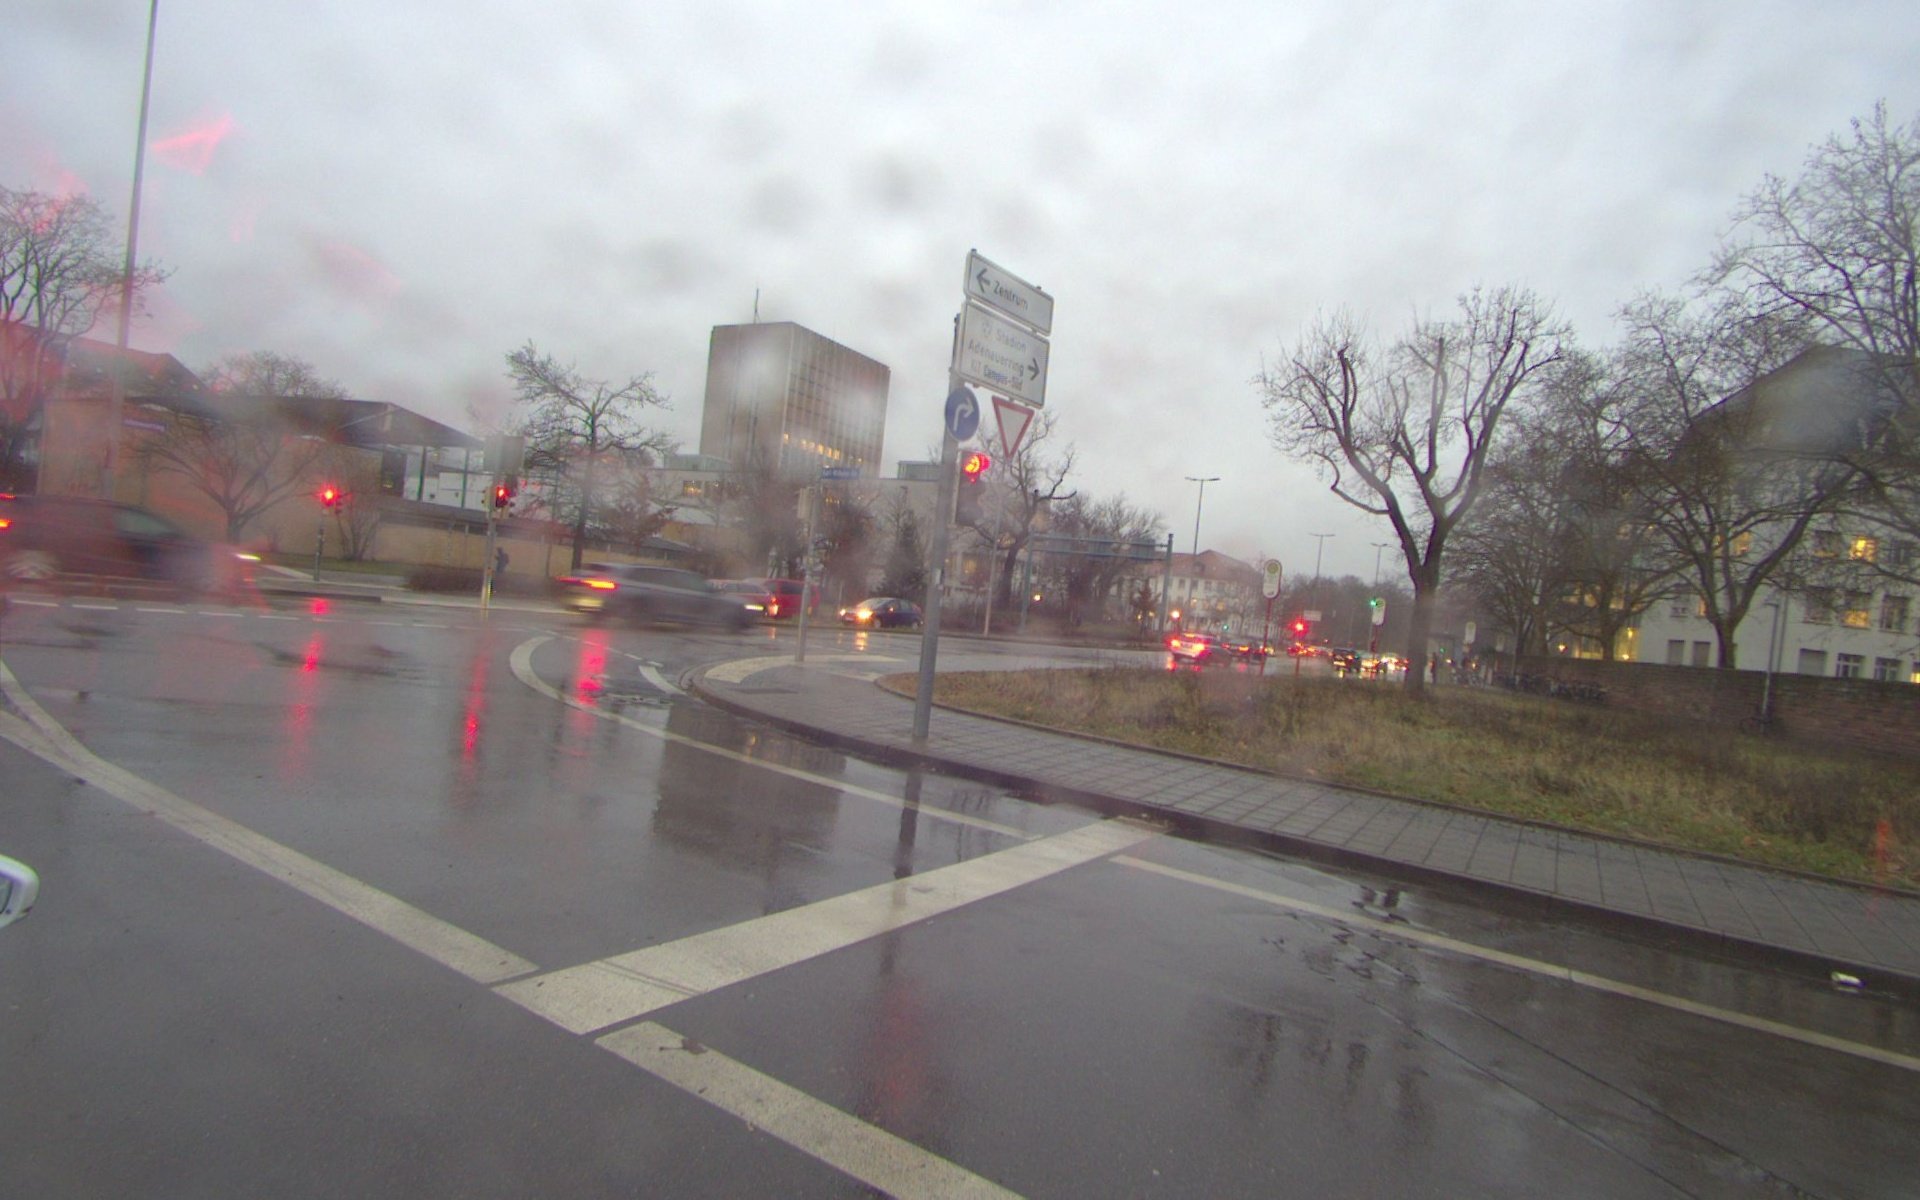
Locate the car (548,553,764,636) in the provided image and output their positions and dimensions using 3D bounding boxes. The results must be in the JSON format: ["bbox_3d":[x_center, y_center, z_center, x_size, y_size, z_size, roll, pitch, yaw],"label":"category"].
[{"bbox_3d":[-7.071,-0.075,23.782,1.786,1.496,4.570,6,0,40],"label":"car"}]

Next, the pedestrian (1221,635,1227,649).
[{"bbox_3d":[32.964,5.260,125.660,0.404,1.713,0.561,7,2,28],"label":"pedestrian"}]

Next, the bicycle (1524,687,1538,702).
[{"bbox_3d":[32.838,5.408,57.859,0.387,0.795,1.532,7,-2,19],"label":"bicycle"}]

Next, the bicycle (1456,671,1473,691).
[{"bbox_3d":[31.637,5.083,63.050,0.599,1.181,1.682,7,-2,19],"label":"bicycle"}]

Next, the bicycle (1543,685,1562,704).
[{"bbox_3d":[31.839,5.078,54.080,0.387,0.927,1.532,7,-2,15],"label":"bicycle"}]

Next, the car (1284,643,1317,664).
[{"bbox_3d":[30.134,4.717,88.969,1.811,1.602,4.127,6,0,32],"label":"car"}]

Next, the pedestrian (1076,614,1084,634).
[{"bbox_3d":[10.889,2.186,91.210,0.411,1.725,0.430,8,3,44],"label":"pedestrian"}]

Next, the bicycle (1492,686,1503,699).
[{"bbox_3d":[36.387,6.251,68.100,0.387,0.795,1.532,7,-2,20],"label":"bicycle"}]

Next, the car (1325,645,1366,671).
[{"bbox_3d":[29.707,4.480,77.455,1.812,1.710,4.311,6,-1,34],"label":"car"}]

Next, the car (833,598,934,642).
[{"bbox_3d":[-3.255,0.889,43.523,1.784,1.496,4.411,6,0,37],"label":"car"}]

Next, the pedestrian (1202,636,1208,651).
[{"bbox_3d":[29.791,5.303,122.455,0.404,1.713,0.427,7,2,28],"label":"pedestrian"}]

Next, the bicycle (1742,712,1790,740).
[{"bbox_3d":[28.200,4.402,35.218,0.387,0.834,1.386,7,-2,-4],"label":"bicycle"}]

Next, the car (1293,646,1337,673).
[{"bbox_3d":[25.280,4.240,71.513,1.812,1.602,4.124,6,0,35],"label":"car"}]

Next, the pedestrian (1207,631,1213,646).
[{"bbox_3d":[29.269,4.464,117.806,0.404,1.713,0.427,7,2,28],"label":"pedestrian"}]

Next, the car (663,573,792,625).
[{"bbox_3d":[-8.393,-0.001,36.638,1.784,1.496,4.411,6,0,37],"label":"car"}]

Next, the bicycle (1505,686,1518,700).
[{"bbox_3d":[34.847,5.870,63.619,0.387,0.795,1.532,7,-2,20],"label":"bicycle"}]

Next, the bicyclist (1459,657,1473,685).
[{"bbox_3d":[31.722,4.437,63.065,0.599,1.660,0.453,7,-1,19],"label":"bicyclist"}]

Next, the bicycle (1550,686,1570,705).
[{"bbox_3d":[31.354,4.983,52.549,0.387,0.868,1.532,7,-2,15],"label":"bicycle"}]

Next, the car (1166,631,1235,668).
[{"bbox_3d":[12.441,2.576,51.783,1.907,1.571,4.687,6,0,33],"label":"car"}]

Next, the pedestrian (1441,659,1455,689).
[{"bbox_3d":[34.461,5.234,71.025,0.557,2.040,0.595,8,2,33],"label":"pedestrian"}]

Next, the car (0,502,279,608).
[{"bbox_3d":[-15.228,-0.789,18.616,1.785,1.496,3.949,6,0,40],"label":"car"}]

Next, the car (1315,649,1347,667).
[{"bbox_3d":[31.673,4.976,85.837,1.673,1.318,3.757,6,0,32],"label":"car"}]

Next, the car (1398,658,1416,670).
[{"bbox_3d":[58.893,8.367,132.608,1.620,1.346,3.671,7,1,31],"label":"car"}]

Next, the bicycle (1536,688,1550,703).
[{"bbox_3d":[32.410,5.294,55.946,0.387,0.795,1.607,7,-2,22],"label":"bicycle"}]

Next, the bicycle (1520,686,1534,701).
[{"bbox_3d":[33.320,5.491,59.138,0.387,0.795,1.532,7,-2,20],"label":"bicycle"}]

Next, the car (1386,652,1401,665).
[{"bbox_3d":[69.830,9.395,161.980,1.834,1.783,3.993,7,1,27],"label":"car"}]

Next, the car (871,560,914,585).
[{"bbox_3d":[-7.105,-2.908,106.454,2.014,2.102,4.892,6,0,30],"label":"car"}]

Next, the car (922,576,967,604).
[{"bbox_3d":[-1.560,-1.005,103.080,2.014,2.452,5.326,6,0,30],"label":"car"}]

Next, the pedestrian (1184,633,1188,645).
[{"bbox_3d":[26.556,4.580,118.241,0.258,1.364,0.289,8,2,31],"label":"pedestrian"}]

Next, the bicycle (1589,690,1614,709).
[{"bbox_3d":[30.273,4.675,47.469,0.352,0.795,1.415,7,-2,8],"label":"bicycle"}]

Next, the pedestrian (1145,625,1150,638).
[{"bbox_3d":[18.763,3.152,100.592,0.258,1.364,0.289,8,2,31],"label":"pedestrian"}]

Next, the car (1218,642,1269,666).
[{"bbox_3d":[18.992,3.640,67.253,1.907,1.318,4.686,6,0,33],"label":"car"}]

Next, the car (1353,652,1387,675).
[{"bbox_3d":[34.235,5.290,83.963,1.811,1.710,4.311,6,0,32],"label":"car"}]

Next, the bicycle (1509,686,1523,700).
[{"bbox_3d":[34.347,5.746,62.145,0.387,0.795,1.532,7,-2,20],"label":"bicycle"}]

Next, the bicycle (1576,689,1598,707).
[{"bbox_3d":[30.546,4.772,48.993,0.387,0.795,1.533,7,-2,14],"label":"bicycle"}]

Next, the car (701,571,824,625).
[{"bbox_3d":[-8.622,-0.047,44.416,2.016,1.903,5.320,6,0,35],"label":"car"}]

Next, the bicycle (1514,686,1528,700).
[{"bbox_3d":[33.826,5.618,60.656,0.387,0.795,1.532,7,-2,20],"label":"bicycle"}]

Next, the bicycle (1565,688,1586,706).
[{"bbox_3d":[31.036,4.879,50.737,0.343,0.848,1.493,7,-2,13],"label":"bicycle"}]

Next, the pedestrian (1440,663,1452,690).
[{"bbox_3d":[30.149,4.737,62.411,0.462,1.623,0.486,7,-1,25],"label":"pedestrian"}]

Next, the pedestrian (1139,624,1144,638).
[{"bbox_3d":[18.233,3.090,100.790,0.258,1.364,0.289,8,2,31],"label":"pedestrian"}]

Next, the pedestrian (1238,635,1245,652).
[{"bbox_3d":[36.400,5.608,130.100,0.567,2.040,0.592,8,3,37],"label":"pedestrian"}]

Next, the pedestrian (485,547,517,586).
[{"bbox_3d":[-20.672,-1.494,45.284,0.783,1.624,0.960,8,2,39],"label":"pedestrian"}]
